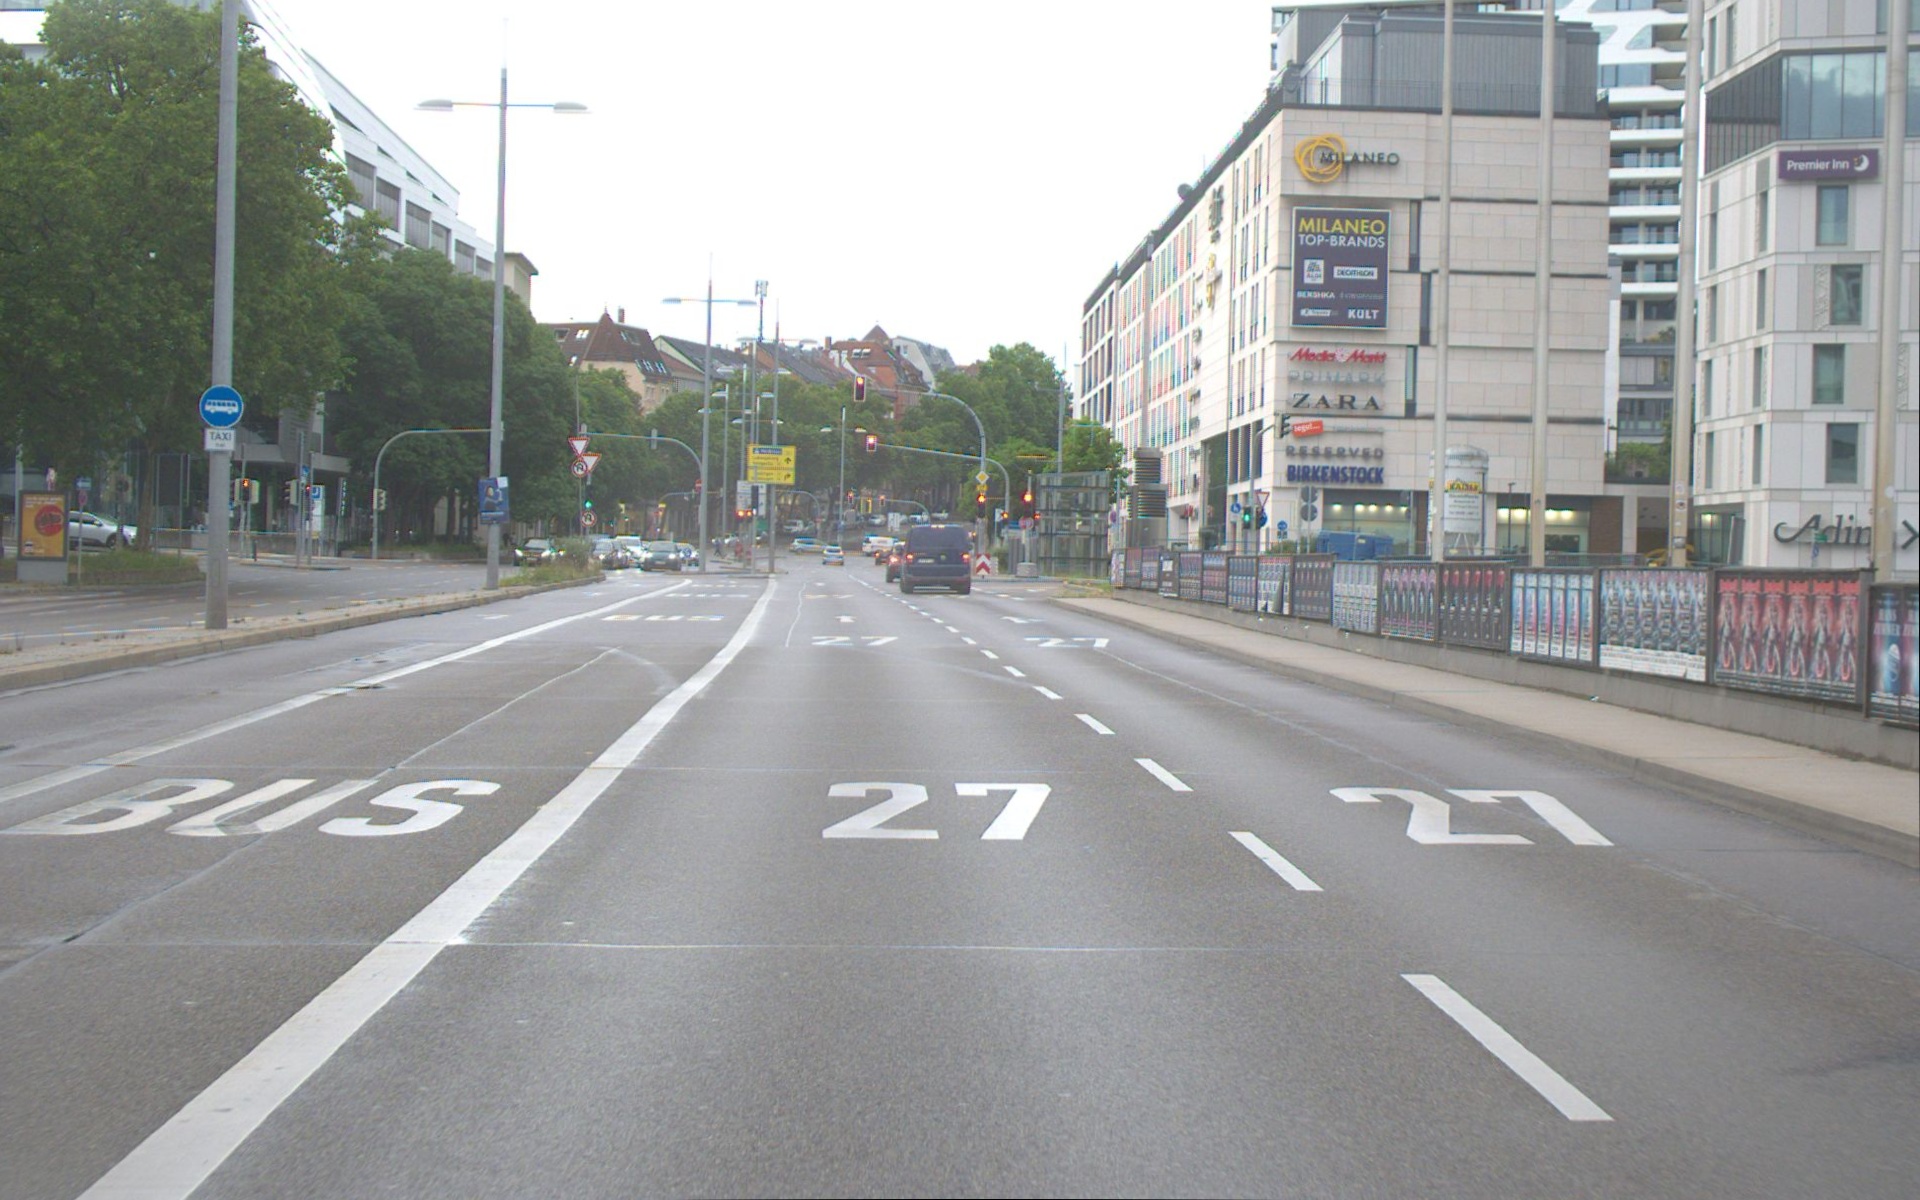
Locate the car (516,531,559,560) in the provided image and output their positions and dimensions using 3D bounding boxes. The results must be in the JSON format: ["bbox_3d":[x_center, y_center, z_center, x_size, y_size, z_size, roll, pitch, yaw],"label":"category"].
[{"bbox_3d":[-20.861,-2.698,169.908,1.743,1.324,4.226,1,0,-2],"label":"car"}]

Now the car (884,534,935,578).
[{"bbox_3d":[-1.815,-1.555,123.036,1.740,1.526,3.814,1,0,-2],"label":"car"}]

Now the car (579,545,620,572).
[{"bbox_3d":[-17.881,-2.056,170.492,1.743,1.253,3.540,2,1,-2],"label":"car"}]

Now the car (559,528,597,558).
[{"bbox_3d":[-20.397,-3.047,183.675,1.743,1.553,3.540,1,0,-2],"label":"car"}]

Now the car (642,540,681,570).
[{"bbox_3d":[-14.708,-2.200,169.538,1.743,1.439,3.395,1,0,-2],"label":"car"}]

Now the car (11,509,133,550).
[{"bbox_3d":[-36.831,-2.933,142.592,4.504,1.626,1.893,1,0,14],"label":"car"}]

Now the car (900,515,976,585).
[{"bbox_3d":[-0.663,-1.468,99.277,2.033,1.875,5.042,-2,2,-2],"label":"car"}]
